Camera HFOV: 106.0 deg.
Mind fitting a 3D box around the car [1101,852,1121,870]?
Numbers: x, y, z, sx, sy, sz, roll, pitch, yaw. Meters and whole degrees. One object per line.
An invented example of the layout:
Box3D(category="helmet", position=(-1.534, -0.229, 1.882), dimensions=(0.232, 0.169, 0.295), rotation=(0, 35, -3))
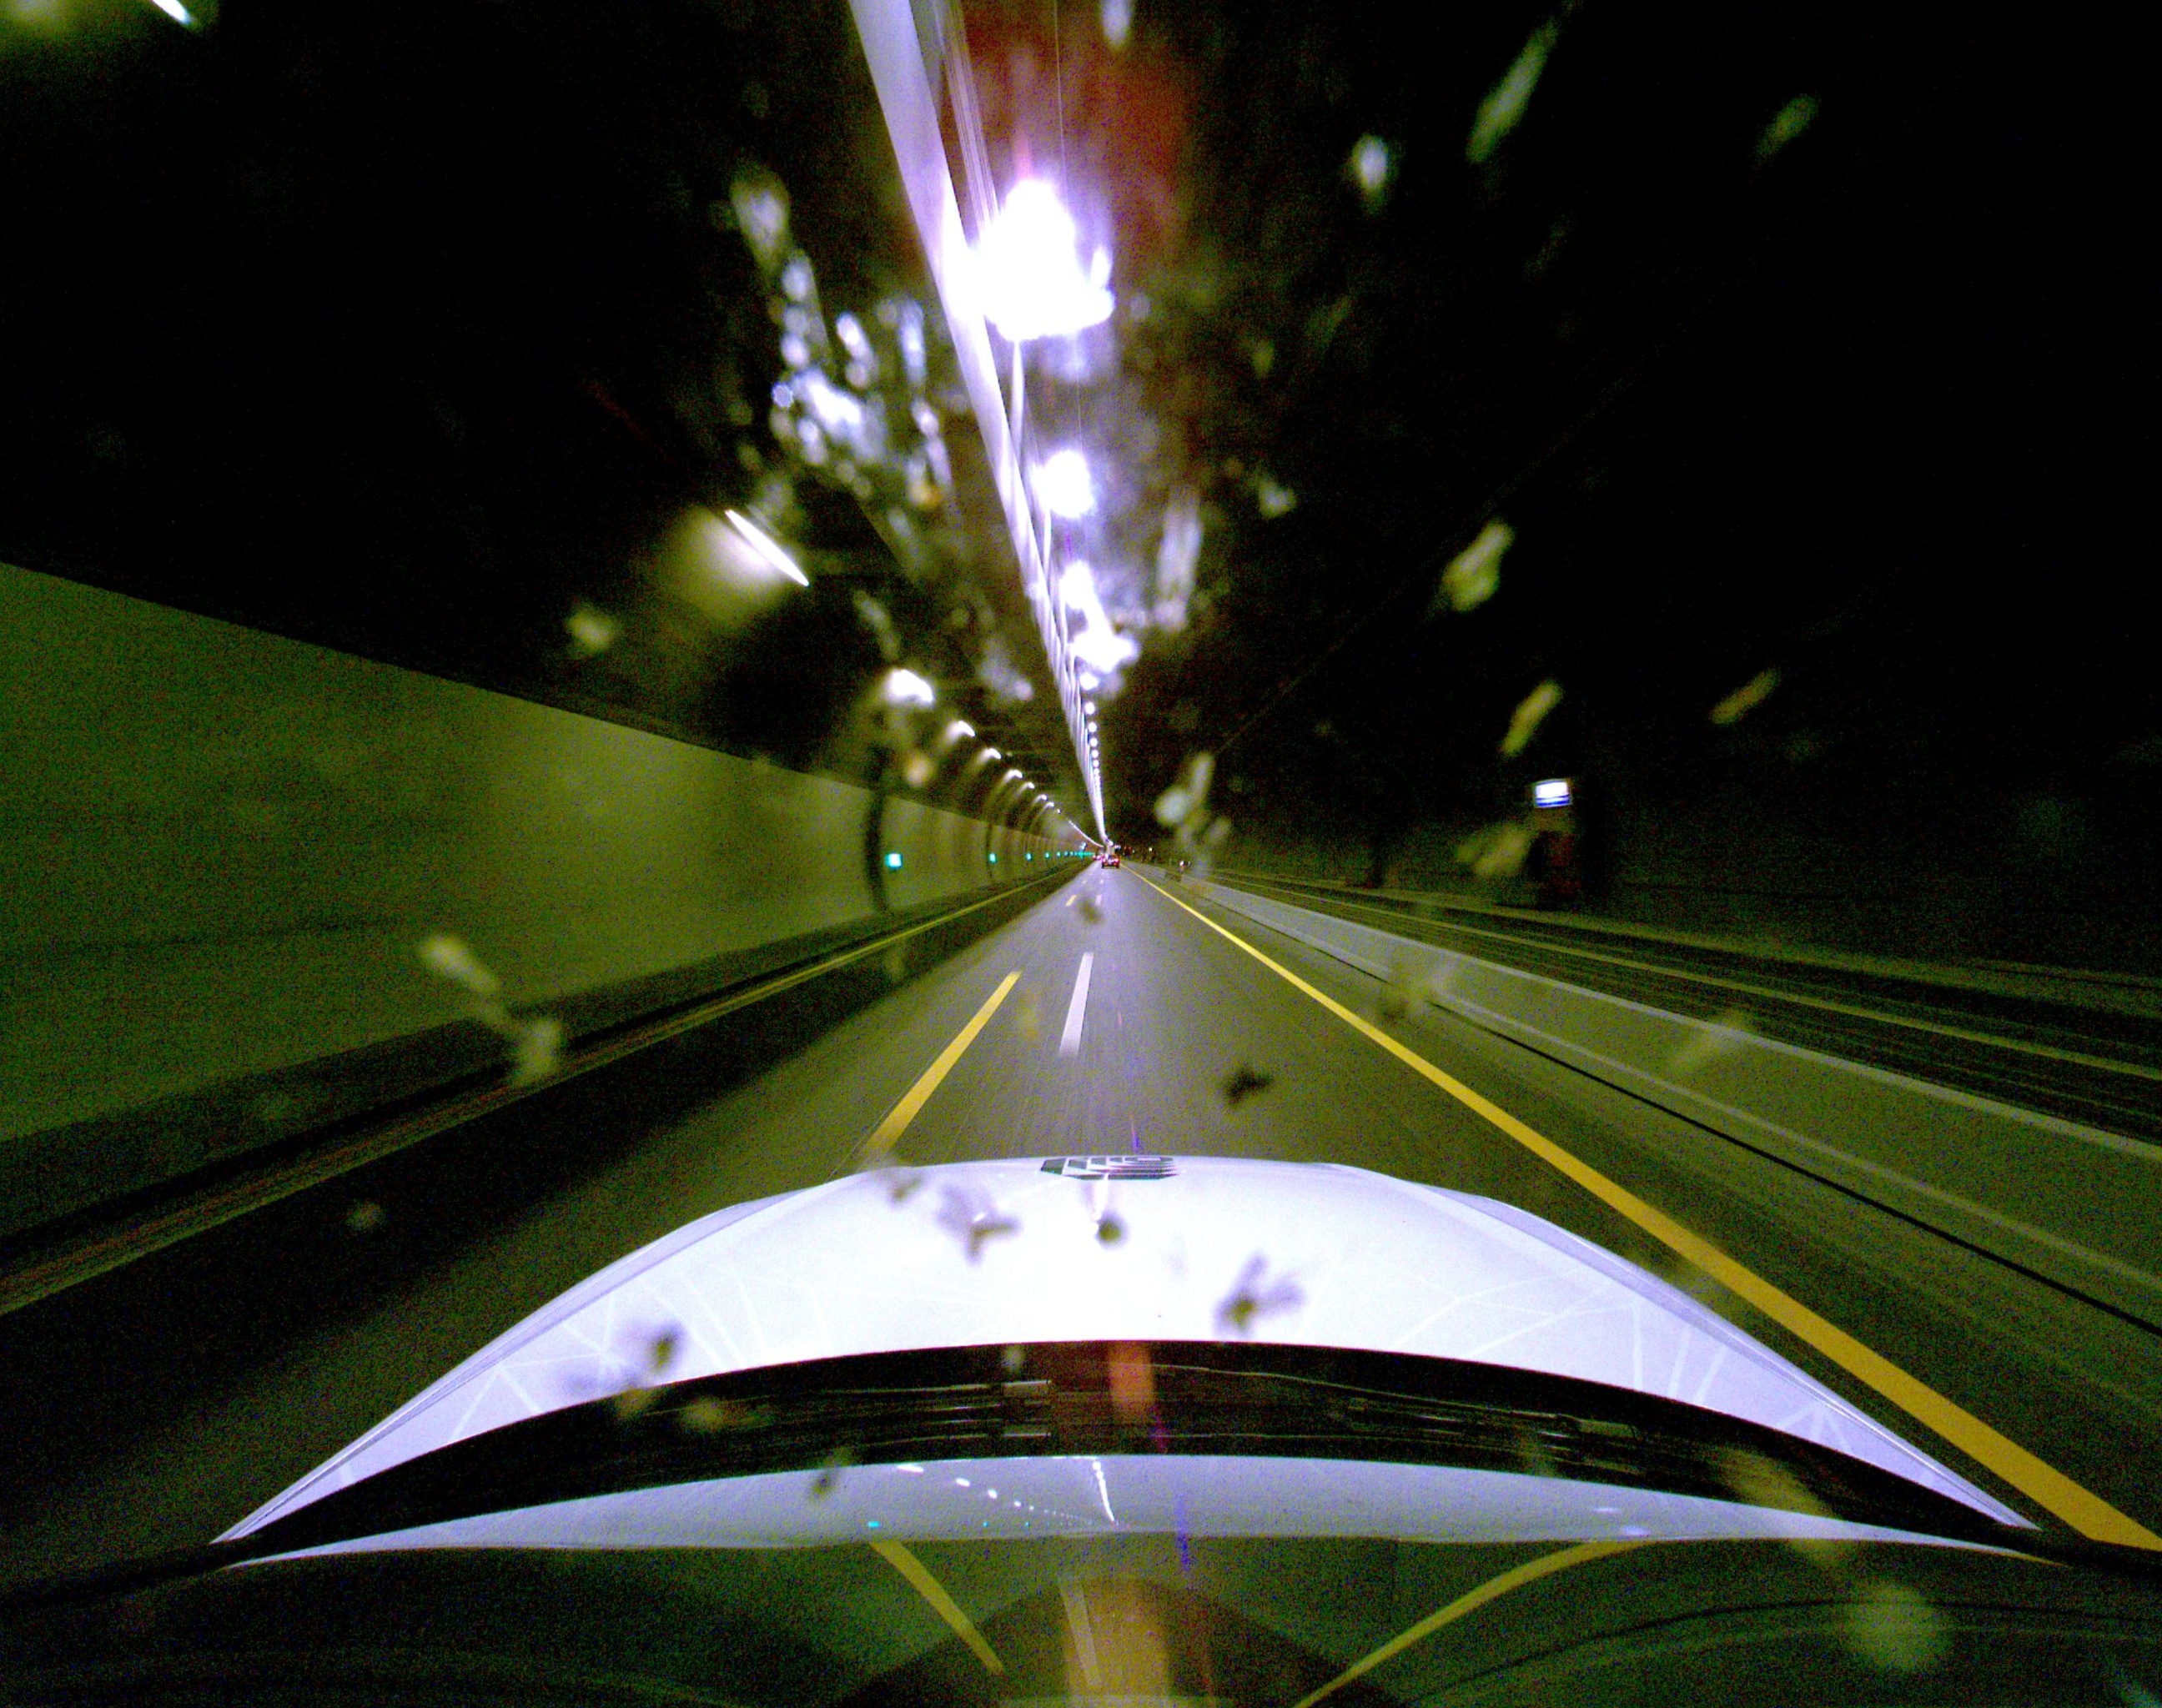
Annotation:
Box3D(category="car", position=(3.165, 0.744, 86.272), dimensions=(1.940, 1.794, 4.000), rotation=(0, 0, 0))

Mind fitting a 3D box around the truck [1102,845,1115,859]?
Box3D(category="truck", position=(8.785, -0.623, 262.004), dimensions=(4.051, 4.532, 14.971), rotation=(0, 0, 2))

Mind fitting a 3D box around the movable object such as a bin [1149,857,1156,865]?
Box3D(category="movable object such as a bin", position=(13.873, 1.312, 157.656), dimensions=(1.230, 1.442, 2.217), rotation=(2, 0, 1))

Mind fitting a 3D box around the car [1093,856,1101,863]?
Box3D(category="car", position=(3.813, 1.302, 196.866), dimensions=(1.923, 1.687, 4.001), rotation=(0, 0, 1))
